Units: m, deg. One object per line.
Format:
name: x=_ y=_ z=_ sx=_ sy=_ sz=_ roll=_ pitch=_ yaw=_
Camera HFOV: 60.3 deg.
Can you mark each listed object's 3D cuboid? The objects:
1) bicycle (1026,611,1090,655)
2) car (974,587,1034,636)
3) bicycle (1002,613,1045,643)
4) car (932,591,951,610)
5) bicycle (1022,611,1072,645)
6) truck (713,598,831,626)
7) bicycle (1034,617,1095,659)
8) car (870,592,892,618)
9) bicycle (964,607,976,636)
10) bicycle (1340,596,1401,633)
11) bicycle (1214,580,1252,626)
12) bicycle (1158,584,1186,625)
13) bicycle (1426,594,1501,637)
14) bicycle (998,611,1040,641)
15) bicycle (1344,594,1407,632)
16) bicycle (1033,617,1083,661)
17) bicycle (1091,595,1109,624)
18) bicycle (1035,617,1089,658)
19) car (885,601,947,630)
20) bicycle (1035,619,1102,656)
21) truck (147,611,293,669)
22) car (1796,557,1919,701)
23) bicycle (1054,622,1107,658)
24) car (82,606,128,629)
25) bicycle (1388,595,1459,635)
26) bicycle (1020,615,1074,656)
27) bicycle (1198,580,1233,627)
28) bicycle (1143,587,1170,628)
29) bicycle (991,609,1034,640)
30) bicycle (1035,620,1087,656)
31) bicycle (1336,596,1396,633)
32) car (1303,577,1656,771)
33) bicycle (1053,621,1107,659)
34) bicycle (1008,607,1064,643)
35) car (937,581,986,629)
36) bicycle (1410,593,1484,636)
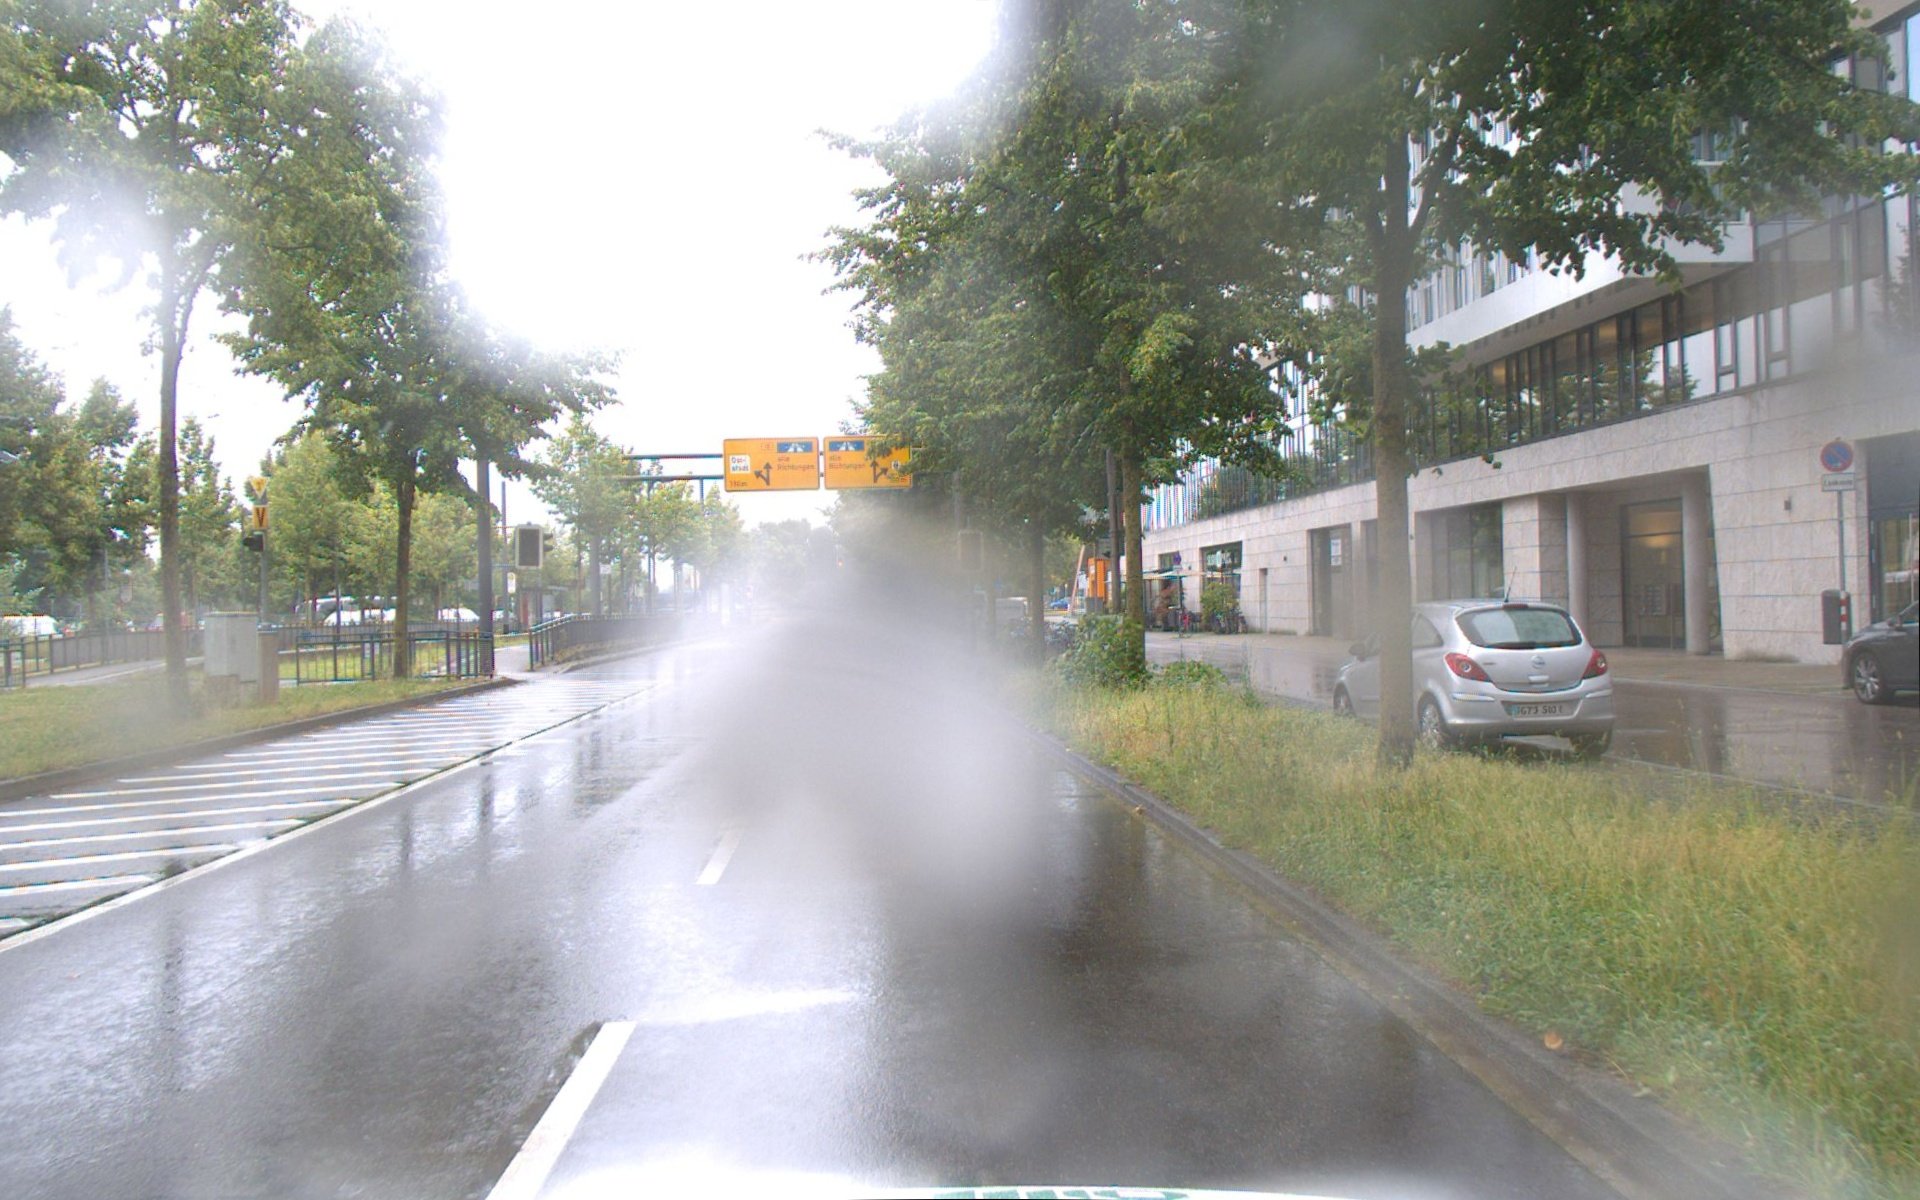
bicycle: x=2.677 y=0.897 z=45.213 sx=1.675 sy=1.122 sz=0.282 roll=-2 pitch=0 yaw=-11
car: x=1.685 y=0.445 z=65.443 sx=1.869 sy=1.822 sz=4.684 roll=-2 pitch=0 yaw=-4
bicycle: x=1.948 y=0.852 z=50.531 sx=1.263 sy=0.864 sz=0.275 roll=-2 pitch=0 yaw=-5
car: x=-2.214 y=0.022 z=195.673 sx=1.954 sy=2.048 sz=3.999 roll=-2 pitch=2 yaw=-3
bicycle: x=2.501 y=0.791 z=47.539 sx=1.383 sy=0.913 sz=0.275 roll=-2 pitch=0 yaw=-7
truck: x=-23.884 y=1.521 z=210.583 sx=14.613 sy=3.202 sz=3.508 roll=-1 pitch=0 yaw=-15
bicycle: x=2.722 y=0.984 z=43.275 sx=1.541 sy=1.035 sz=0.408 roll=-2 pitch=0 yaw=2
car: x=-7.116 y=0.444 z=149.099 sx=1.902 sy=2.048 sz=3.998 roll=-2 pitch=2 yaw=-4
bicycle: x=0.303 y=0.660 z=51.322 sx=0.269 sy=0.864 sz=1.291 roll=-2 pitch=0 yaw=-4
bicycle: x=12.125 y=0.420 z=48.895 sx=1.660 sy=1.046 sz=0.423 roll=-2 pitch=-1 yaw=-2
bicycle: x=11.068 y=0.099 z=67.056 sx=0.757 sy=1.752 sz=3.118 roll=-2 pitch=2 yaw=-4
bicycle: x=9.866 y=0.192 z=77.227 sx=0.632 sy=1.752 sz=3.118 roll=-2 pitch=2 yaw=-4
bicycle: x=12.822 y=0.399 z=42.150 sx=1.770 sy=1.046 sz=0.401 roll=-2 pitch=-1 yaw=-2
bicycle: x=1.855 y=0.812 z=51.639 sx=1.263 sy=0.864 sz=0.275 roll=-2 pitch=0 yaw=-5
bicycle: x=12.145 y=0.391 z=48.352 sx=1.715 sy=1.046 sz=0.412 roll=-2 pitch=-1 yaw=-2
bicycle: x=2.540 y=1.001 z=42.864 sx=1.261 sy=1.093 sz=0.275 roll=-2 pitch=0 yaw=4
bicycle: x=8.402 y=0.553 z=99.255 sx=0.653 sy=1.561 sz=2.762 roll=-2 pitch=2 yaw=-4
bicycle: x=2.695 y=0.982 z=43.703 sx=1.409 sy=1.035 sz=0.349 roll=-2 pitch=0 yaw=2
car: x=-2.695 y=0.917 z=100.758 sx=1.801 sy=1.572 sz=3.949 roll=-3 pitch=3 yaw=-36
bicycle: x=2.746 y=0.952 z=41.815 sx=1.638 sy=0.864 sz=0.275 roll=-2 pitch=0 yaw=0
truck: x=-70.559 y=3.768 z=157.848 sx=12.329 sy=4.672 sz=3.367 roll=-3 pitch=2 yaw=-31
car: x=11.770 y=0.309 z=18.526 sx=1.954 sy=1.527 sz=5.030 roll=-4 pitch=1 yaw=-4
bicycle: x=2.966 y=0.983 z=40.623 sx=1.261 sy=0.846 sz=0.275 roll=-2 pitch=0 yaw=7
car: x=-74.174 y=1.499 z=143.513 sx=3.492 sy=1.768 sz=1.690 roll=-3 pitch=2 yaw=-28
bicycle: x=12.741 y=0.416 z=45.459 sx=1.770 sy=1.046 sz=0.541 roll=-2 pitch=-1 yaw=-2
bicycle: x=2.336 y=0.950 z=44.463 sx=1.423 sy=1.035 sz=0.349 roll=-2 pitch=-1 yaw=-2
bicycle: x=10.315 y=0.132 z=66.832 sx=0.632 sy=1.752 sz=3.118 roll=-2 pitch=2 yaw=-4
bicycle: x=9.140 y=0.313 z=77.115 sx=0.632 sy=1.752 sz=3.118 roll=-2 pitch=2 yaw=-4
bicycle: x=1.681 y=0.792 z=52.940 sx=1.299 sy=0.926 sz=0.275 roll=-2 pitch=0 yaw=-5
bicycle: x=2.569 y=0.967 z=42.153 sx=1.262 sy=0.864 sz=0.275 roll=-2 pitch=0 yaw=0
bicycle: x=12.113 y=0.436 z=49.416 sx=1.660 sy=1.046 sz=0.423 roll=-2 pitch=-1 yaw=-2
car: x=5.081 y=0.618 z=16.943 sx=1.844 sy=1.532 sz=4.721 roll=-2 pitch=2 yaw=-4
bicycle: x=2.907 y=0.972 z=40.192 sx=1.261 sy=0.889 sz=0.301 roll=-2 pitch=0 yaw=7
bicycle: x=2.268 y=0.744 z=49.489 sx=1.611 sy=1.006 sz=0.320 roll=-2 pitch=0 yaw=-5
car: x=0.049 y=0.262 z=84.121 sx=2.079 sy=2.313 sz=4.560 roll=-2 pitch=0 yaw=-4
bicycle: x=12.791 y=0.381 z=43.450 sx=1.770 sy=1.046 sz=0.541 roll=-2 pitch=-1 yaw=-2
